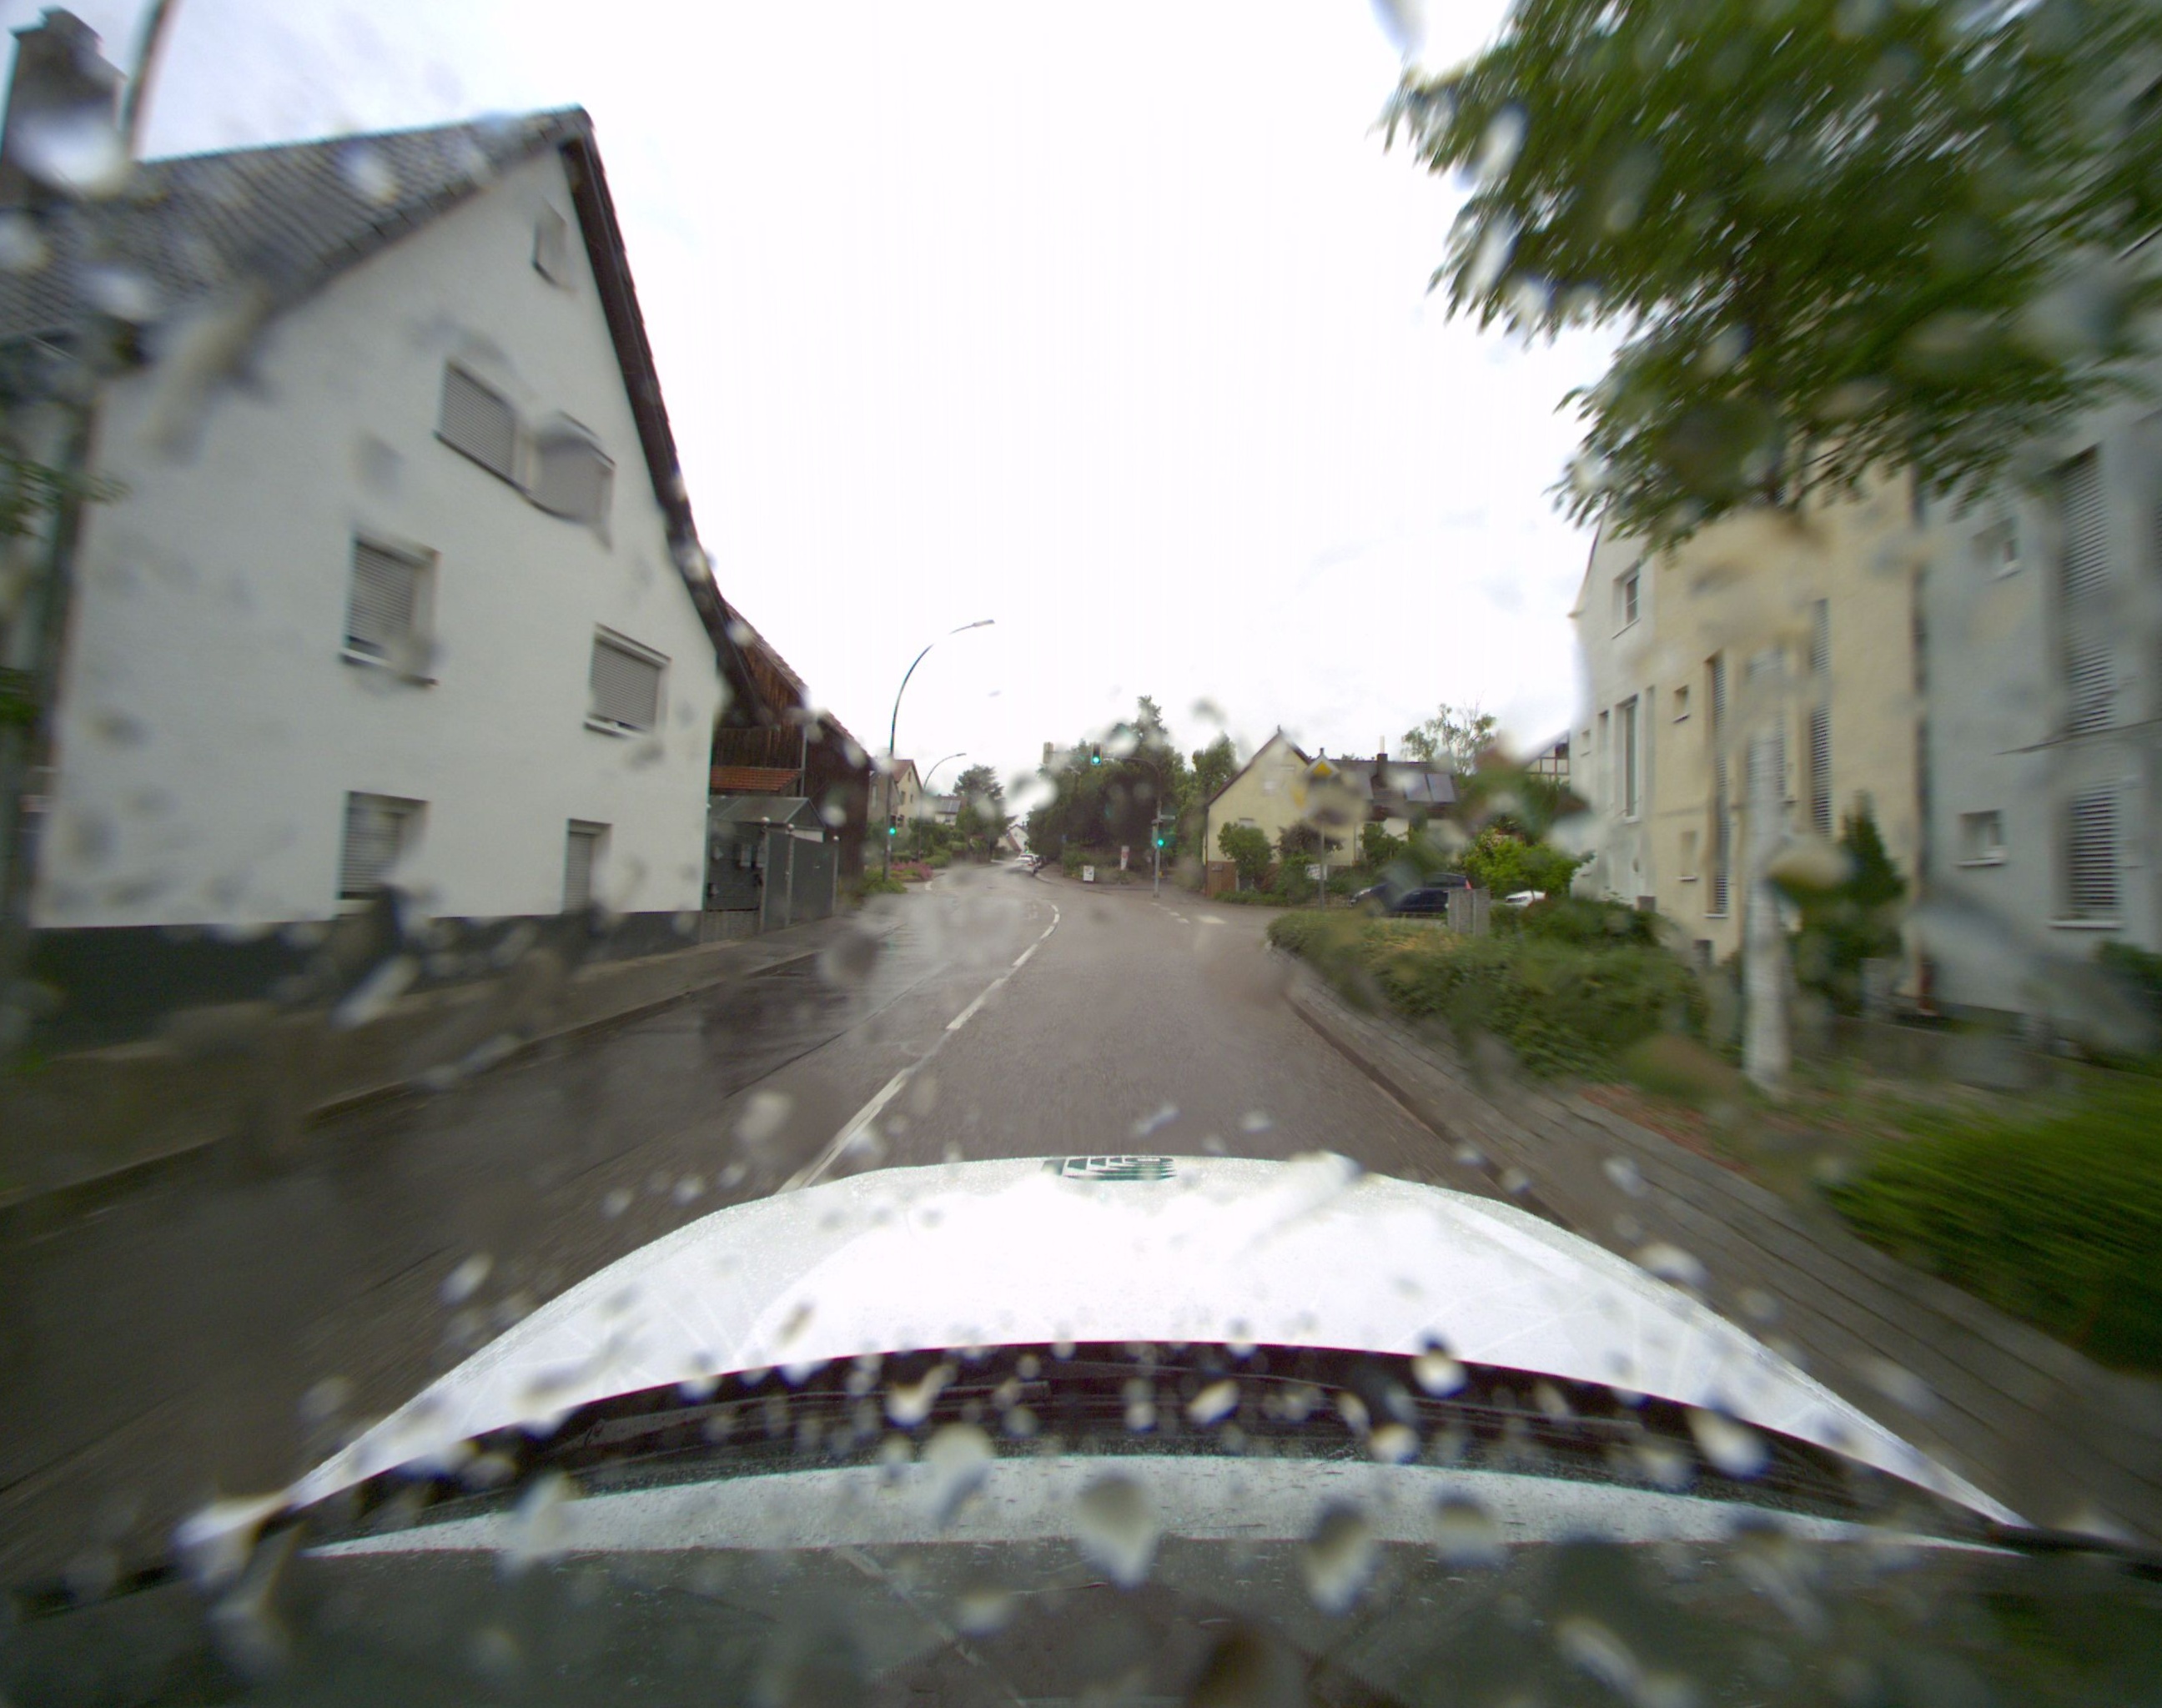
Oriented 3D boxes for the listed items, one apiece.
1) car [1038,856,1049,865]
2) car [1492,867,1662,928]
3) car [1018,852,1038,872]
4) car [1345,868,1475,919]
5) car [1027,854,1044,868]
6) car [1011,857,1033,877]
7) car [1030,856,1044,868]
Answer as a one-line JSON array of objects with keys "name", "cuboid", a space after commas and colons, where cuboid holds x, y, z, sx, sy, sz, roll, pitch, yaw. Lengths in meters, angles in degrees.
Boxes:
[{"name": "car", "cuboid": [-5.722, 0.989, 123.883, 1.648, 1.371, 4.176, 1, 0, -3]}, {"name": "car", "cuboid": [16.867, 1.450, 27.934, 4.651, 1.804, 1.810, 2, -2, 14]}, {"name": "car", "cuboid": [-4.888, 0.763, 75.848, 1.632, 1.741, 4.134, 2, -1, -1]}, {"name": "car", "cuboid": [11.714, 1.389, 29.264, 4.103, 1.585, 1.871, 2, -2, 14]}, {"name": "car", "cuboid": [-5.407, 0.882, 97.516, 1.809, 1.573, 3.880, 1, -1, 0]}, {"name": "car", "cuboid": [-4.696, 1.036, 64.967, 1.608, 1.480, 4.033, 2, 0, -3]}, {"name": "car", "cuboid": [-5.598, 0.967, 103.719, 1.761, 1.447, 4.690, 1, -1, -3]}]
